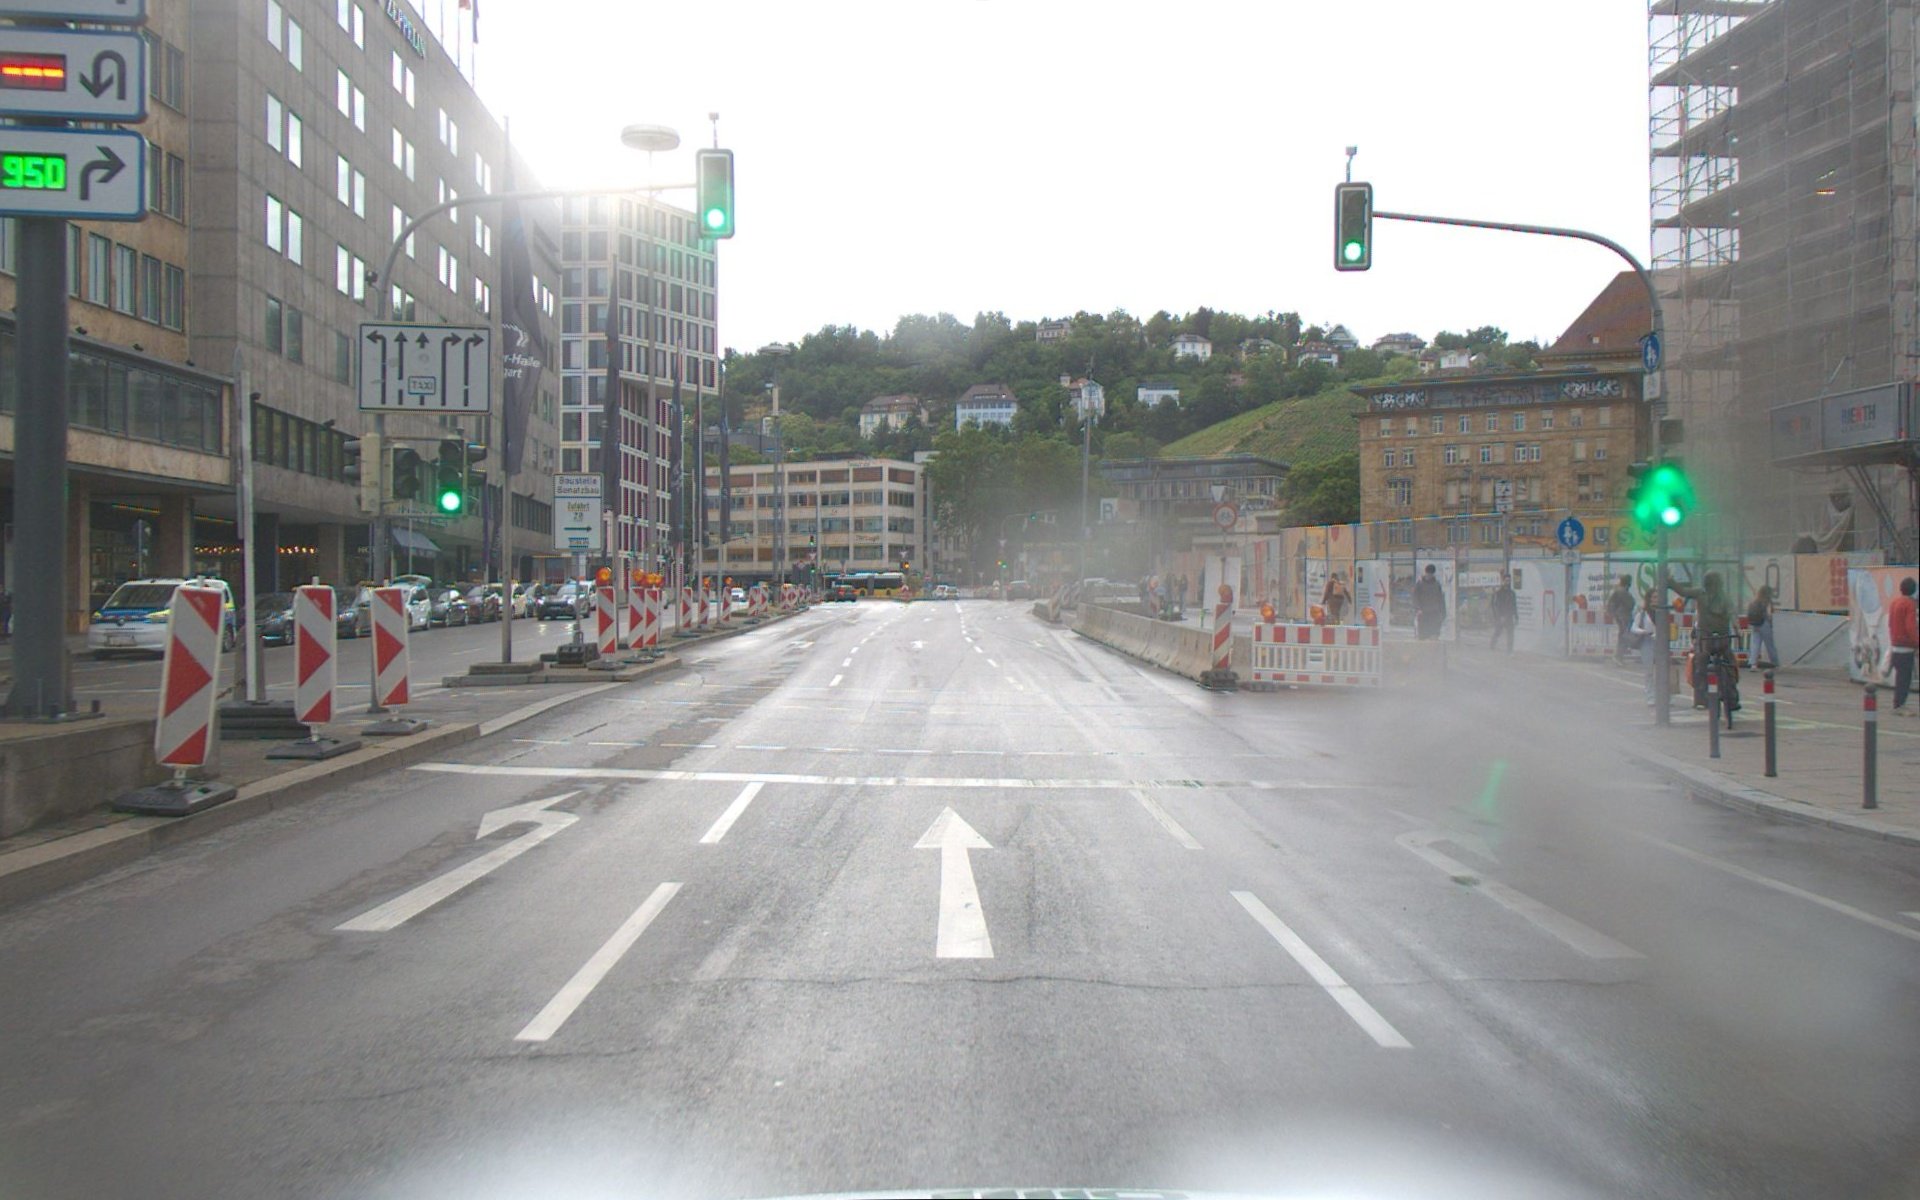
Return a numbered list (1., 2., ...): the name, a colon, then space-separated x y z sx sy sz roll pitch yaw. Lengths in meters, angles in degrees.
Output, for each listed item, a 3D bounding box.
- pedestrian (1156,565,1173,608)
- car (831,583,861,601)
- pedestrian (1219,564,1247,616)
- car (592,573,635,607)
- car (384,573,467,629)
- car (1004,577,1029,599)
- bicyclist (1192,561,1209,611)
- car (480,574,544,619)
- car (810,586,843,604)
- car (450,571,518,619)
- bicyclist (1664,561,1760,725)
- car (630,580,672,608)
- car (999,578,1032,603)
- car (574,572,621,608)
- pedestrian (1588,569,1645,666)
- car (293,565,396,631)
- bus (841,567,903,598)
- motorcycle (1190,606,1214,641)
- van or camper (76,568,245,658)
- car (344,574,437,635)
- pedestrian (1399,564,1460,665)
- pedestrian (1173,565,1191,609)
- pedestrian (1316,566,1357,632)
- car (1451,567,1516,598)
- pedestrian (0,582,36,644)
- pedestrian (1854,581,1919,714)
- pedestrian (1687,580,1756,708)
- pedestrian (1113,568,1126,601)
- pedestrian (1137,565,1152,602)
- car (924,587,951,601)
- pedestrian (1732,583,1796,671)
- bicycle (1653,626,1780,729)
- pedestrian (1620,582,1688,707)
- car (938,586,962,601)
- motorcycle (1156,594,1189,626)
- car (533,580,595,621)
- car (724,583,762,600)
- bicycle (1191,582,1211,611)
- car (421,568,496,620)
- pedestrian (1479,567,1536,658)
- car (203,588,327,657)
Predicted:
1. pedestrian: 8.890 -0.581 72.046 0.674 1.873 0.615 -1 0 2
2. car: -9.951 -0.702 143.688 1.959 1.579 3.986 -1 0 -14
3. pedestrian: 9.949 -0.378 60.332 0.926 1.873 0.868 -1 0 4
4. car: -21.603 -0.651 103.259 1.953 2.048 3.999 -1 1 -2
5. car: -20.356 0.010 63.093 1.953 2.049 3.999 -1 0 -2
6. car: 4.502 -0.995 132.699 1.740 1.668 3.999 -1 1 -2
7. bicyclist: 9.969 -0.590 68.537 0.628 2.049 0.656 -1 0 2
8. car: -21.164 -0.197 78.288 1.953 2.049 4.414 -1 0 -2
9. car: -13.639 -0.514 168.835 1.758 1.667 3.958 -4 1 -31
10. car: -21.079 -0.235 73.435 1.953 2.049 3.999 -1 0 -2
11. bicyclist: 8.848 0.490 19.489 0.689 1.877 0.968 1 0 2
12. car: -18.793 -0.395 100.743 1.953 1.646 3.999 -1 0 -2
13. car: 3.973 -0.706 118.481 1.954 1.735 3.997 -1 0 -4
14. car: -21.484 -0.599 98.176 1.953 2.049 3.999 -1 0 -2
15. pedestrian: 12.833 0.340 32.337 0.846 1.873 0.798 -1 0 7
16. car: -19.944 -0.073 53.775 1.953 2.049 3.999 -1 0 -2
17. bus: -11.084 -2.195 207.142 2.677 3.825 9.187 -1 1 -41
18. motorcycle: 5.401 0.525 36.931 0.363 0.734 0.922 1 1 -1
19. van or camper: -19.620 0.277 40.869 1.954 2.049 4.962 -1 0 -3
20. car: -20.252 0.137 59.015 1.953 2.049 4.162 -1 0 -2
21. pedestrian: 8.914 0.264 31.392 0.928 1.873 0.945 0 0 28
22. pedestrian: 9.665 -0.572 71.989 0.674 1.873 0.615 -1 0 2
23. pedestrian: 10.911 -0.036 47.937 0.928 1.873 0.866 -1 0 -6
24. car: 36.095 -1.200 114.092 3.902 2.049 2.002 -1 0 7
25. pedestrian: -23.975 0.328 41.739 0.778 1.553 0.916 -1 0 -1
26. pedestrian: 11.966 0.586 20.926 0.755 1.636 0.859 -1 0 -17
27. pedestrian: 9.951 0.557 21.604 0.779 1.636 0.835 0 0 26
28. pedestrian: 9.160 -0.903 94.997 0.674 1.873 0.615 -1 0 2
29. pedestrian: 9.560 -0.854 85.751 0.674 1.873 0.615 -1 0 2
30. car: -2.569 -0.740 189.411 1.964 1.467 3.978 1 1 -20
31. pedestrian: 15.666 0.513 32.243 0.847 1.690 0.797 -1 0 0
32. bicycle: 8.845 0.880 19.405 0.692 1.068 1.807 1 1 2
33. pedestrian: 9.303 0.577 22.160 0.779 1.636 0.835 0 0 26
34. car: -1.096 -0.697 175.539 1.788 1.467 3.988 1 1 -12
35. motorcycle: 4.936 0.228 38.473 0.394 0.694 0.917 1 1 -18
36. car: -18.003 0.002 75.295 1.953 1.780 3.999 -1 0 -2
37. car: -22.886 -0.886 174.323 1.956 1.623 3.993 -1 1 30
38. bicycle: 9.975 -0.145 68.440 0.631 1.157 1.764 -1 0 2
39. car: -20.621 -0.246 68.140 1.953 2.049 3.999 -1 0 -2
40. pedestrian: 11.460 0.246 34.615 0.851 1.873 0.944 0 0 40
41. car: -19.913 0.601 47.542 1.953 1.870 3.999 -1 0 -2
